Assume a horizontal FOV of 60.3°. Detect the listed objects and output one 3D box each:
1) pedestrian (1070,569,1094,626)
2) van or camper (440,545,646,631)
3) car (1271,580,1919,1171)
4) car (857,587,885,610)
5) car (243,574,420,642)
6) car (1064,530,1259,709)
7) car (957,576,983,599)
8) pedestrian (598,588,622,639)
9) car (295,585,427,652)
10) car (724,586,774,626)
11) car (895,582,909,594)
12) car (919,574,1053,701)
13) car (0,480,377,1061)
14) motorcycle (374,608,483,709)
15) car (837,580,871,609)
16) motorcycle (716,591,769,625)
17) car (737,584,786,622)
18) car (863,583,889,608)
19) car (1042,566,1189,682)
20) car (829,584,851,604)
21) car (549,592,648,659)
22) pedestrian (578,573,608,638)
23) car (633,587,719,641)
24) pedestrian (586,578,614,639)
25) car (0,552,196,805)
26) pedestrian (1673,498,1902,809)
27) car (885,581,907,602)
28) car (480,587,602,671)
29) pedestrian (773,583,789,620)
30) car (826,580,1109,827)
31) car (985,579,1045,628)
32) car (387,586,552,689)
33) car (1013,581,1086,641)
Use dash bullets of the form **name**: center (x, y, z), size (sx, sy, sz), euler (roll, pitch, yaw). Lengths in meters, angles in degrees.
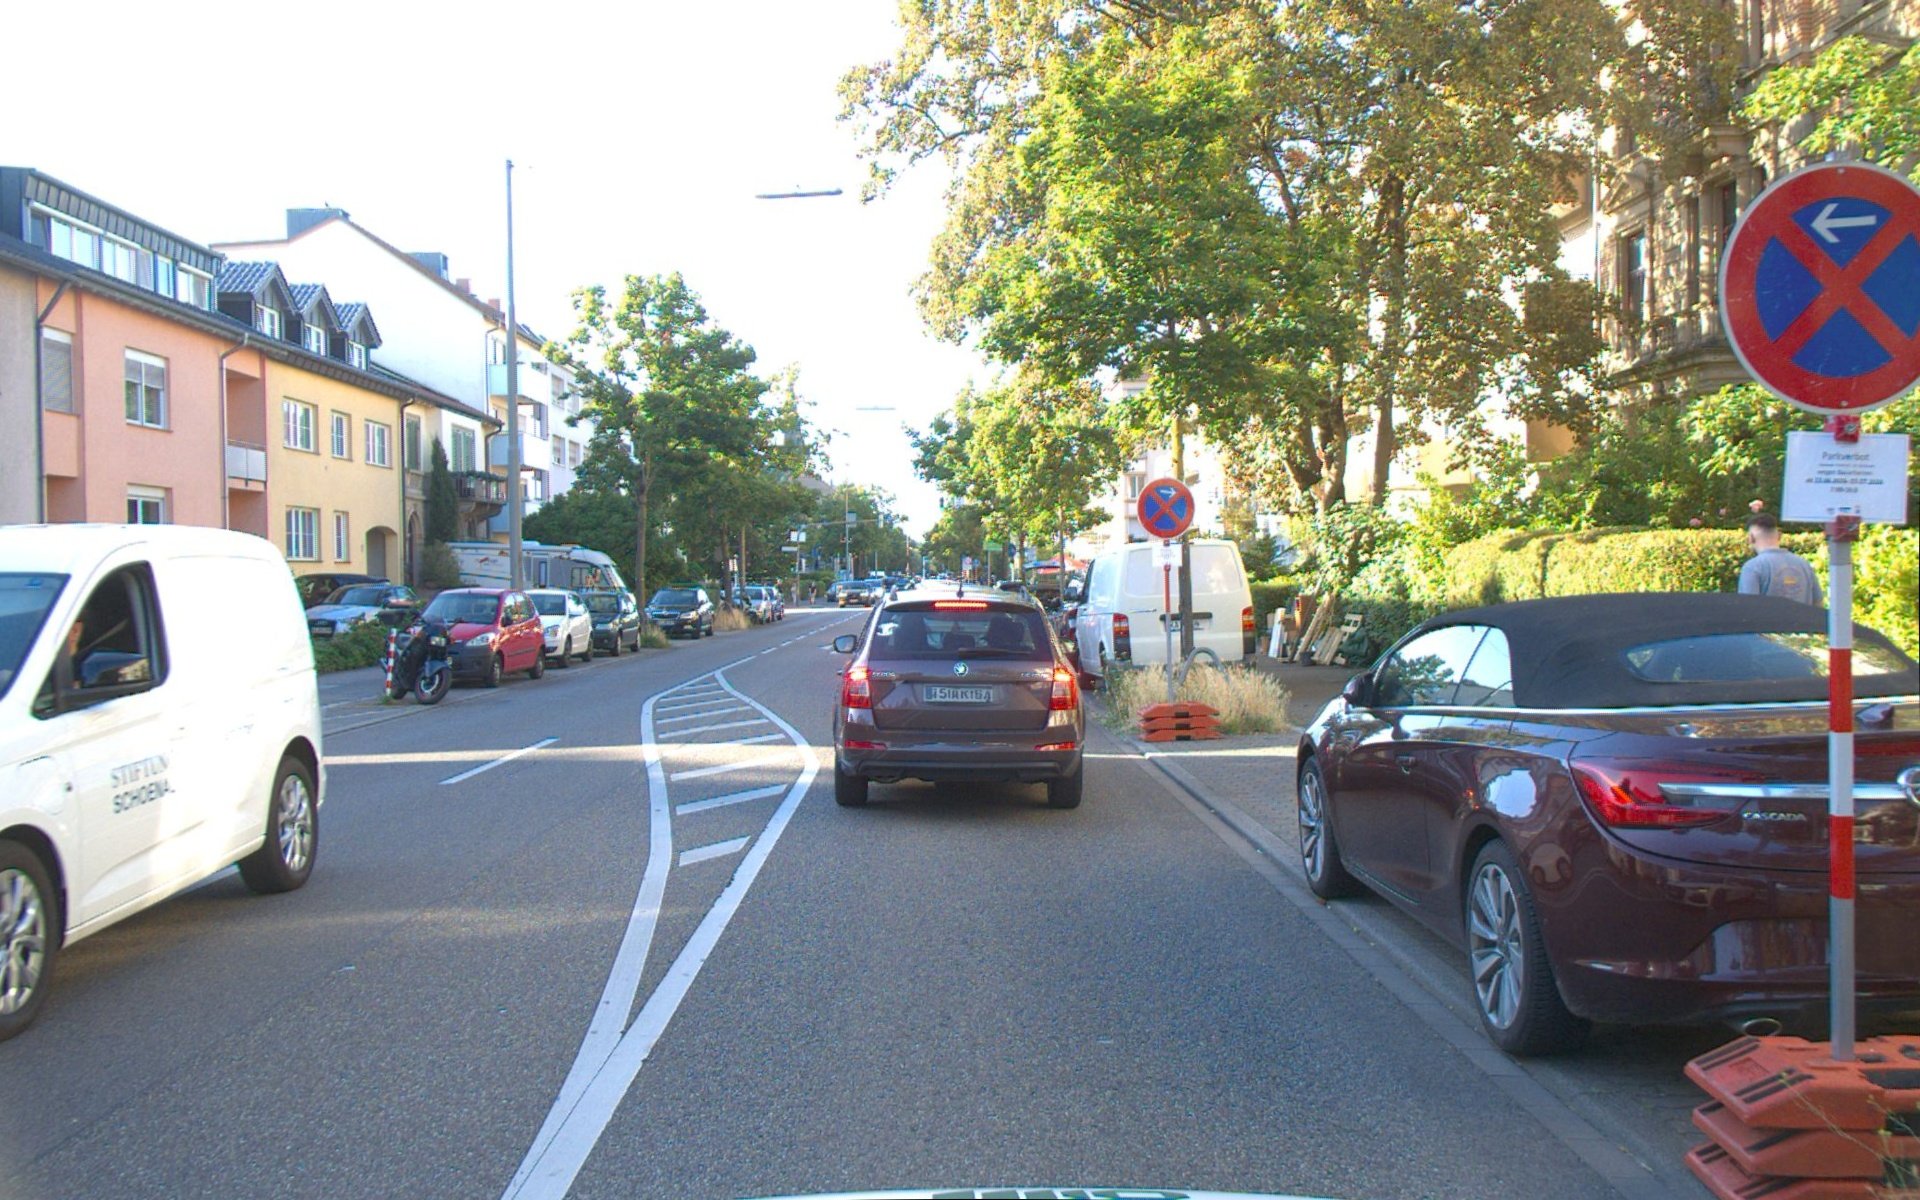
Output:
- **pedestrian**: center (3.923, -0.086, 53.090), size (0.649, 1.779, 0.772), euler (-2, 0, 0)
- **van or camper**: center (-14.765, -0.442, 58.893), size (6.661, 2.821, 2.351), euler (1, 0, -2)
- **car**: center (2.619, 0.690, 6.619), size (1.722, 1.444, 4.614), euler (-3, 1, -1)
- **car**: center (-6.247, -0.114, 116.309), size (1.725, 1.477, 4.533), euler (-3, 1, -1)
- **car**: center (-16.534, 0.202, 43.639), size (3.905, 1.664, 1.866), euler (1, 0, 0)
- **car**: center (2.591, 0.208, 22.339), size (1.865, 2.140, 4.639), euler (-1, 1, -3)
- **car**: center (0.830, -1.033, 133.447), size (1.952, 1.803, 4.001), euler (1, 0, 2)
- **pedestrian**: center (-10.535, 0.410, 49.776), size (0.577, 1.522, 0.542), euler (-1, 0, 1)
- **car**: center (-13.877, 0.397, 38.516), size (1.630, 1.433, 3.753), euler (-2, 1, 0)
- **car**: center (-8.456, 0.220, 66.565), size (1.561, 1.496, 3.803), euler (1, 0, -1)
- **car**: center (-7.879, -1.611, 226.641), size (1.793, 1.607, 4.000), euler (-1, 1, -1)
- **car**: center (0.296, 0.464, 23.245), size (1.701, 1.598, 3.999), euler (1, 0, -1)
- **car**: center (-4.049, 0.560, 6.760), size (1.850, 1.835, 4.429), euler (-3, 1, -3)
- **motorcycle**: center (-7.477, 0.784, 23.184), size (1.164, 1.288, 2.352), euler (-1, 1, -25)
- **car**: center (-6.351, -0.342, 99.731), size (1.798, 1.597, 3.999), euler (-3, 0, -1)
- **motorcycle**: center (-8.277, 0.309, 62.925), size (2.014, 1.287, 0.764), euler (-1, 0, 38)
- **car**: center (-8.523, 0.108, 71.259), size (1.615, 1.544, 4.073), euler (1, 1, -1)
- **car**: center (-6.529, -0.395, 129.073), size (1.769, 1.836, 4.744), euler (-2, 1, -1)
- **car**: center (2.458, 0.338, 27.119), size (1.818, 1.631, 4.310), euler (-3, 1, -1)
- **car**: center (-9.348, -0.490, 128.994), size (1.491, 1.482, 3.584), euler (-1, 1, -1)
- **car**: center (-8.229, 0.546, 37.913), size (1.512, 1.421, 3.665), euler (-1, 1, -1)
- **pedestrian**: center (-10.456, 0.148, 47.100), size (0.699, 1.824, 0.506), euler (-1, 0, 1)
- **car**: center (-8.505, 0.376, 49.883), size (1.829, 1.520, 4.517), euler (1, 1, -1)
- **pedestrian**: center (-10.993, 0.261, 50.490), size (0.699, 1.824, 0.572), euler (-1, 0, 1)
- **car**: center (-7.813, 0.563, 12.668), size (1.849, 1.810, 4.724), euler (-1, 1, -2)
- **pedestrian**: center (5.069, 0.305, 10.201), size (0.804, 1.805, 1.088), euler (-1, 0, -5)
- **car**: center (-6.264, -0.821, 161.504), size (1.953, 1.942, 4.963), euler (-3, 1, -1)
- **car**: center (-8.316, 0.536, 33.141), size (1.561, 1.550, 3.889), euler (-1, 1, -2)
- **pedestrian**: center (-9.956, 0.081, 92.189), size (0.764, 2.022, 0.821), euler (-1, 0, 0)
- **car**: center (-0.003, 0.616, 12.339), size (1.737, 1.515, 4.310), euler (0, 1, -1)
- **car**: center (1.914, 0.096, 58.471), size (1.818, 1.609, 4.012), euler (-2, 1, -1)
- **car**: center (-7.916, 0.554, 26.986), size (1.560, 1.550, 3.437), euler (-1, 1, 2)
- **car**: center (2.446, 0.272, 46.065), size (1.674, 1.506, 4.267), euler (-3, 1, -1)
